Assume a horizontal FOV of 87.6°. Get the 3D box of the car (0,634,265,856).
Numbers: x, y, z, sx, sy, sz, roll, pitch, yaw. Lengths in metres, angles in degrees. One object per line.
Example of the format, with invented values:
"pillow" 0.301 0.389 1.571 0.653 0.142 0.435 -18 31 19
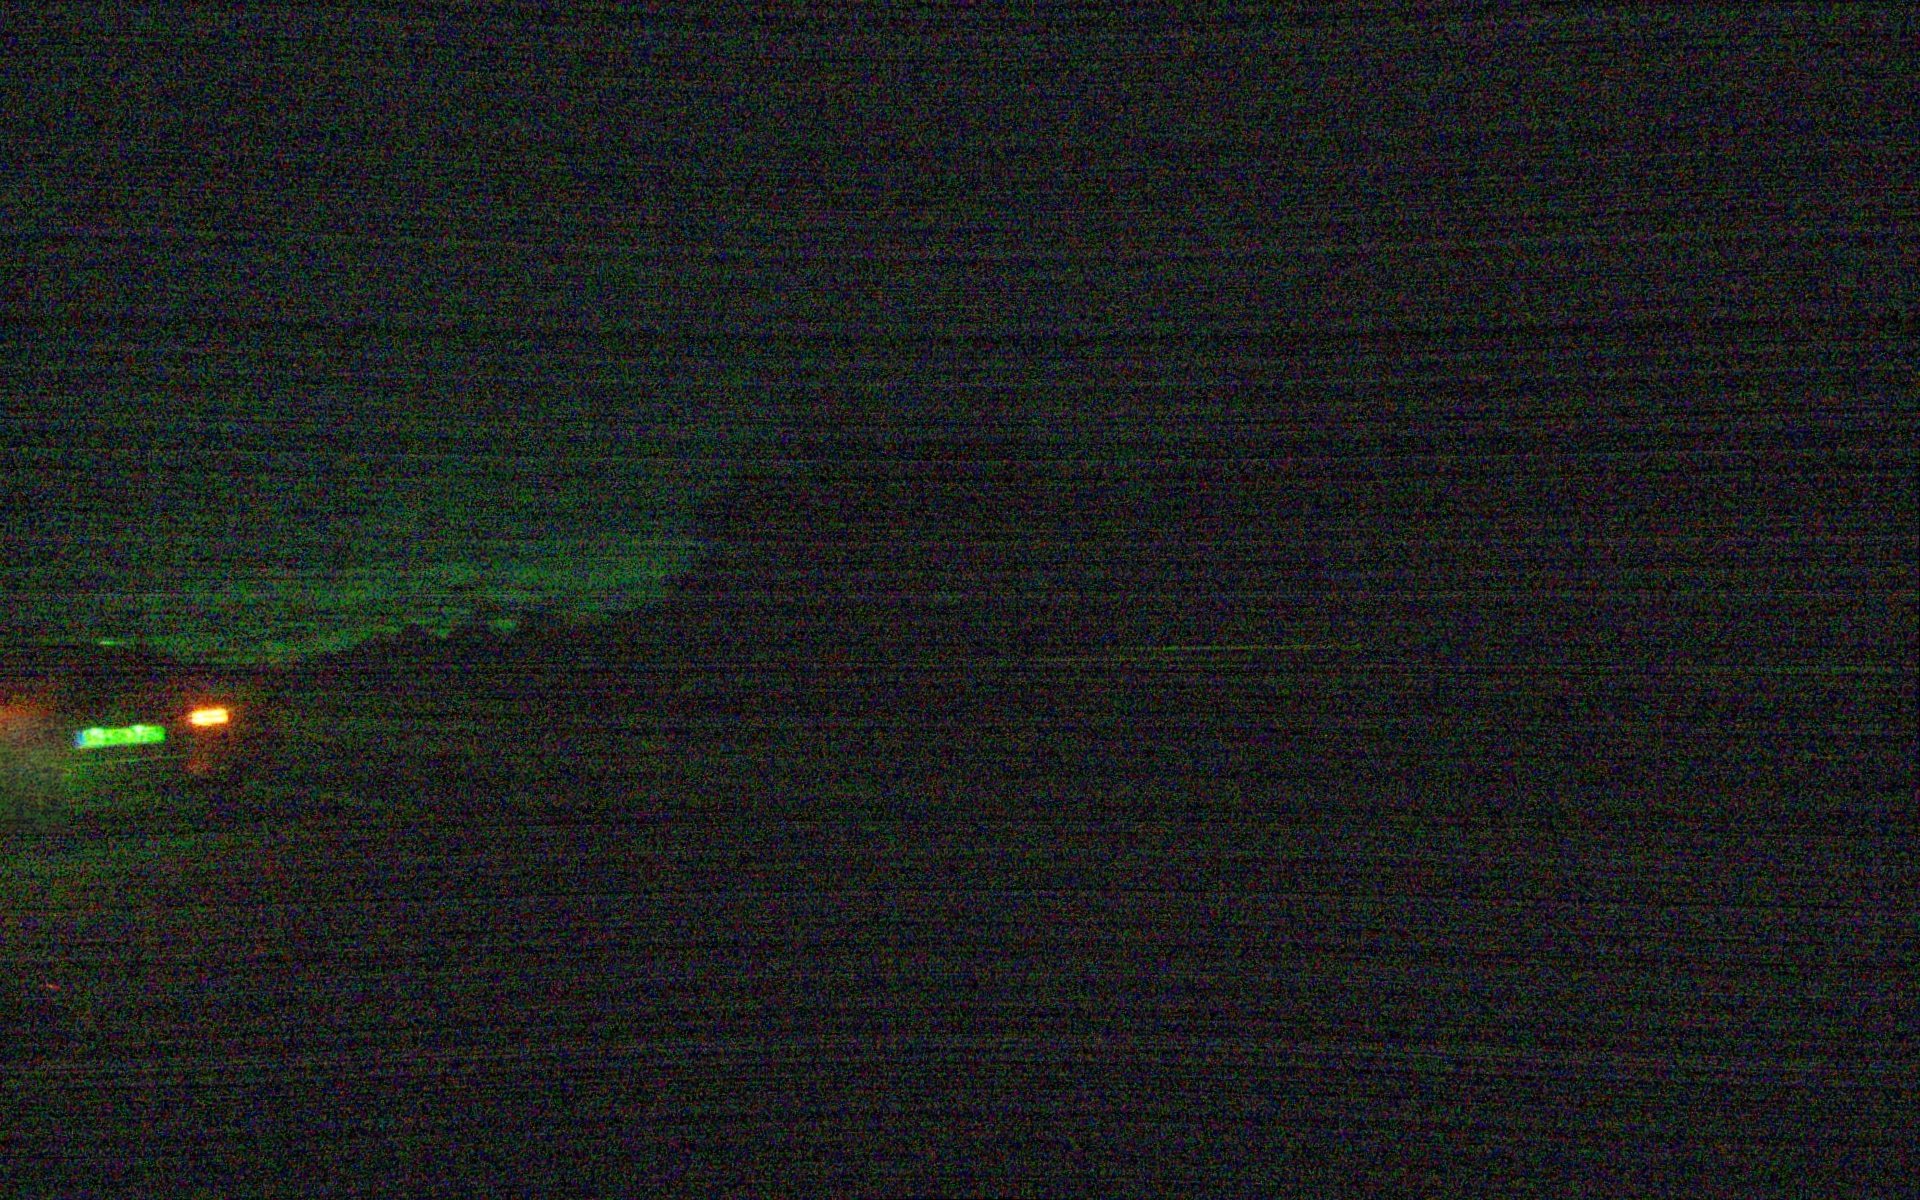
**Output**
"car" -8.016 1.024 8.489 4.806 1.445 1.804 -1 -1 33
